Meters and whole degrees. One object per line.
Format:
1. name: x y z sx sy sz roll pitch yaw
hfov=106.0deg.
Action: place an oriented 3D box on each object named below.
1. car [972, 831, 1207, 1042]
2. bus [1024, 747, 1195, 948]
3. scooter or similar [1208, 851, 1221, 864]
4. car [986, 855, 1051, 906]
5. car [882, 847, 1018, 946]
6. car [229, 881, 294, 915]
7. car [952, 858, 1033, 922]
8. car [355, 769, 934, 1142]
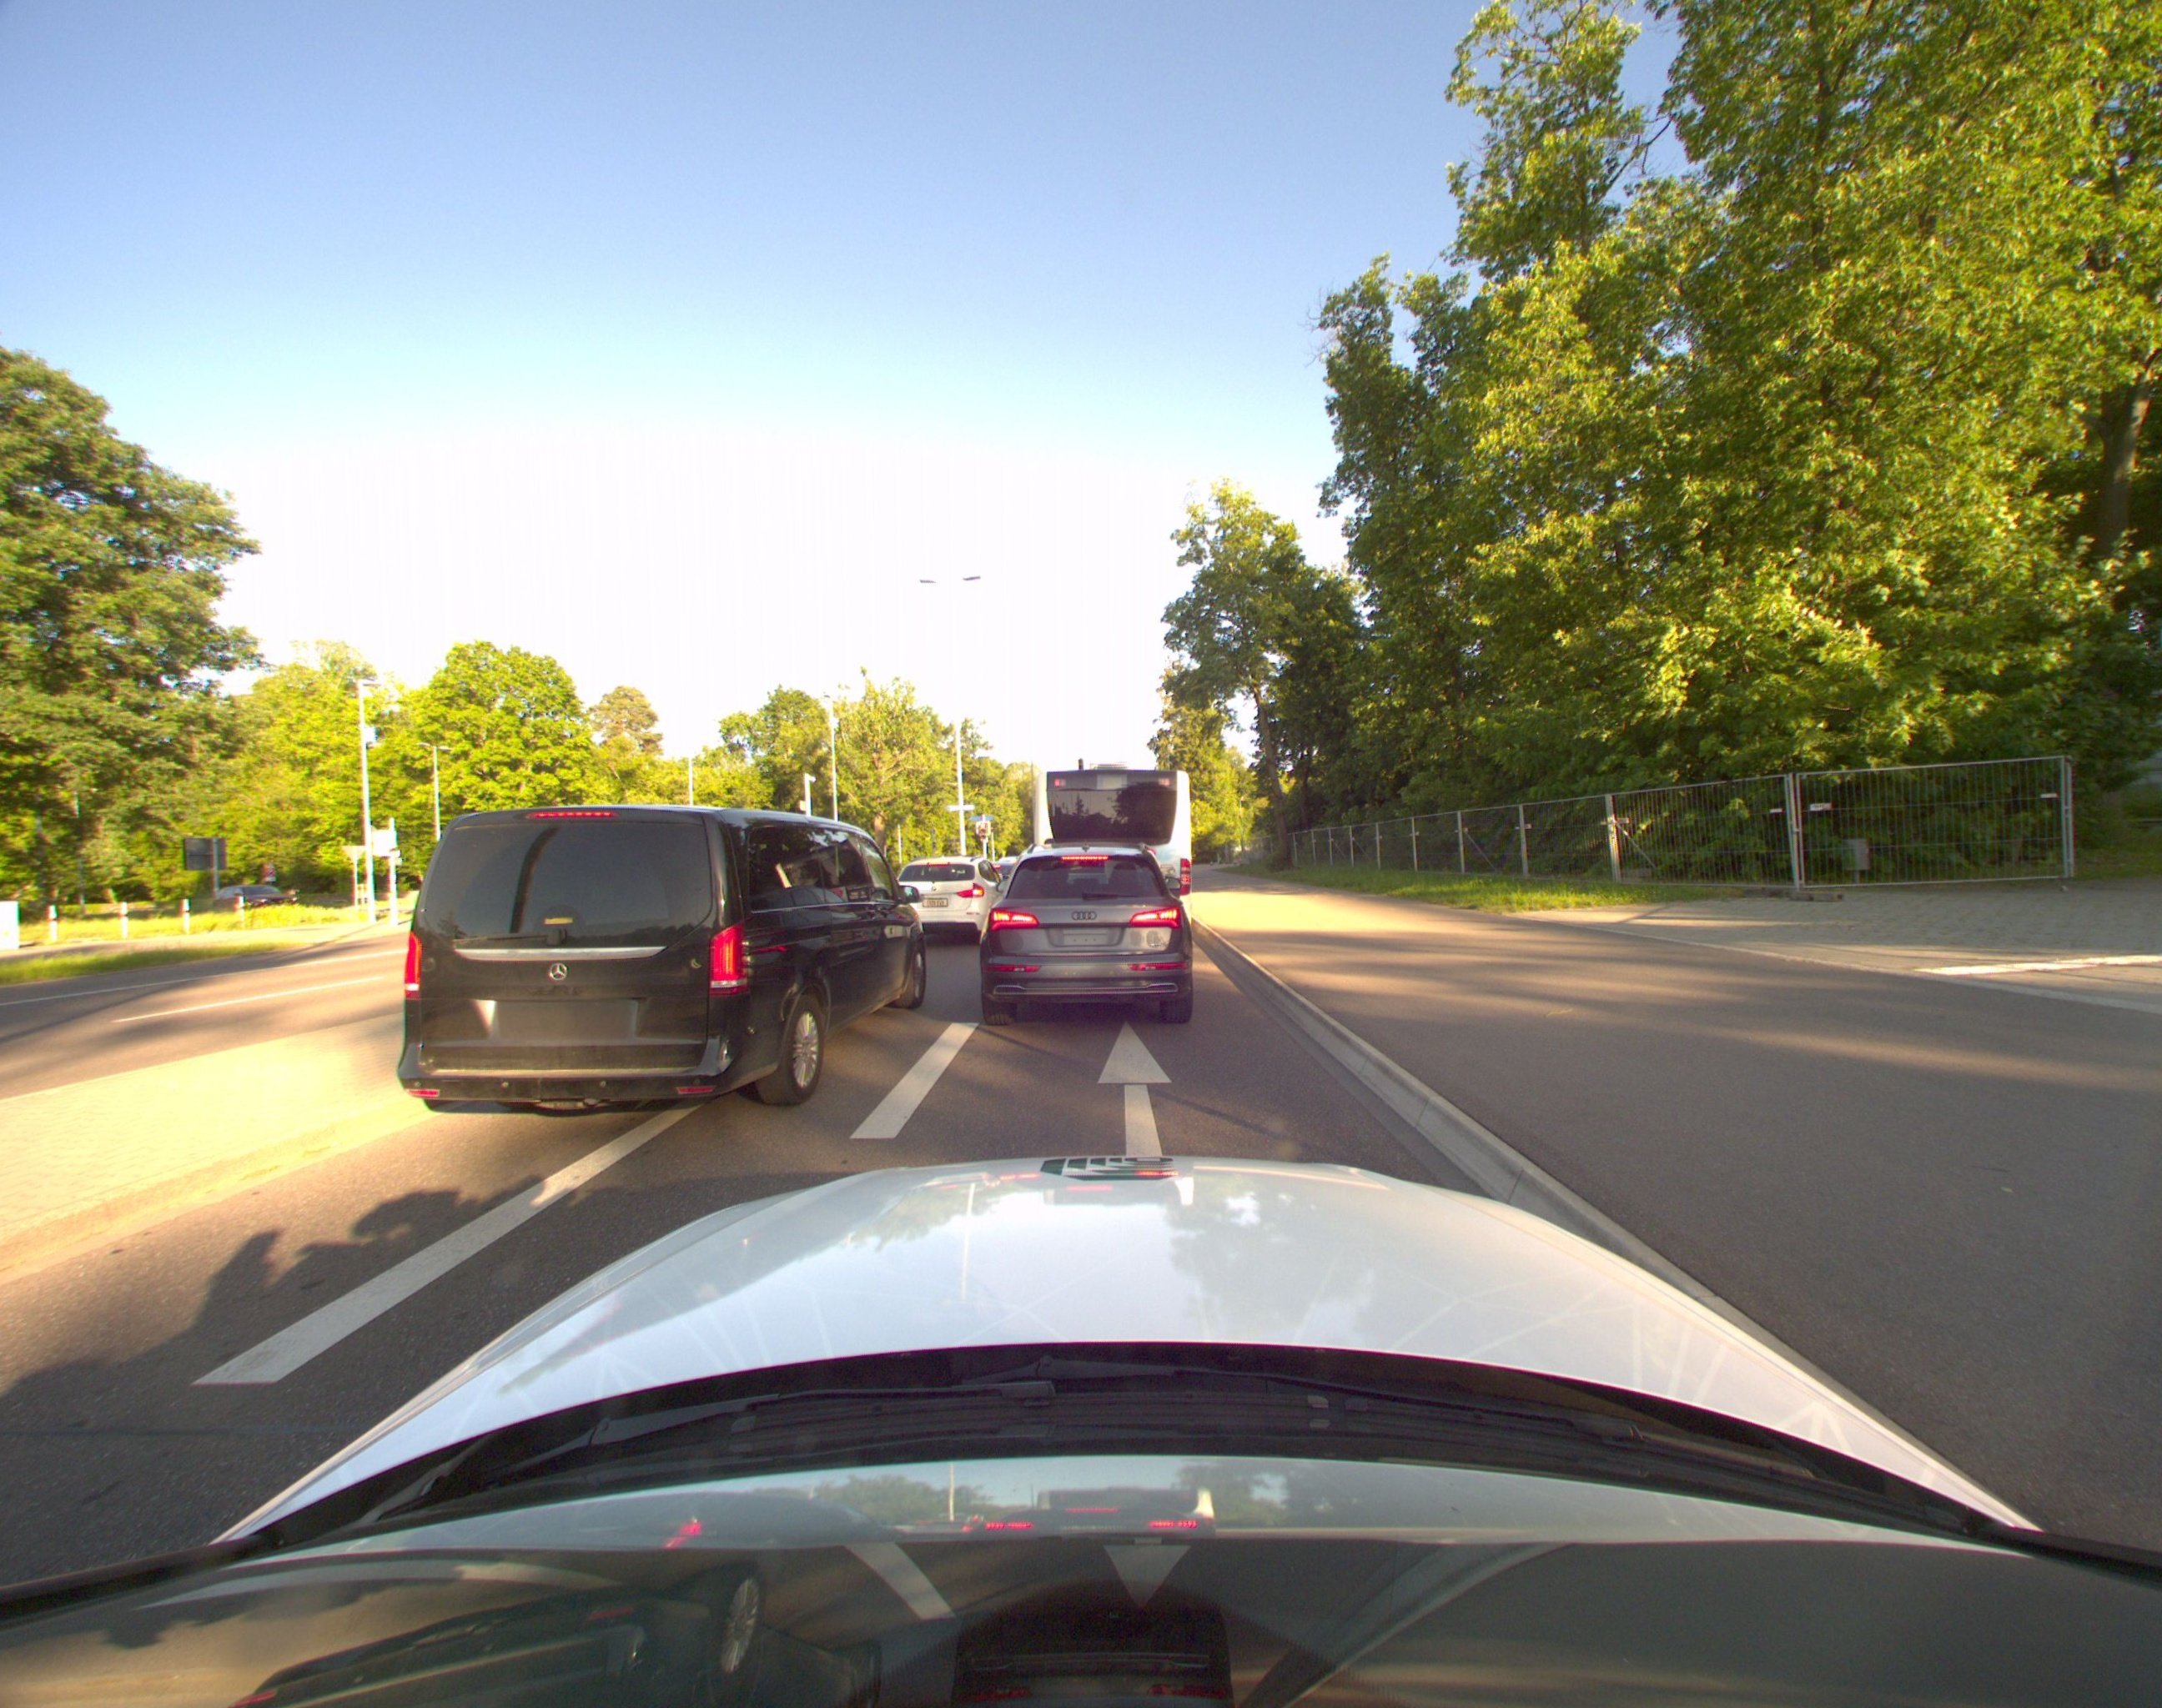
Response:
1. car: 0.131 0.638 8.479 1.861 1.663 4.002 0 1 2
2. bus: 0.606 -0.120 15.757 2.667 3.142 5.887 0 0 3
3. scooter or similar: 12.770 0.320 77.790 1.175 1.174 0.661 0 0 13
4. car: -2.067 0.842 27.901 1.801 1.572 4.002 0 1 2
5. car: -2.285 0.746 15.350 1.712 1.581 4.435 0 -2 2
6. car: -44.076 2.319 43.762 3.948 1.618 2.013 -1 -1 38
7. car: -2.223 0.870 21.484 1.780 1.444 4.274 0 1 -2
8. car: -2.631 0.503 6.514 1.900 1.856 4.874 0 0 1
